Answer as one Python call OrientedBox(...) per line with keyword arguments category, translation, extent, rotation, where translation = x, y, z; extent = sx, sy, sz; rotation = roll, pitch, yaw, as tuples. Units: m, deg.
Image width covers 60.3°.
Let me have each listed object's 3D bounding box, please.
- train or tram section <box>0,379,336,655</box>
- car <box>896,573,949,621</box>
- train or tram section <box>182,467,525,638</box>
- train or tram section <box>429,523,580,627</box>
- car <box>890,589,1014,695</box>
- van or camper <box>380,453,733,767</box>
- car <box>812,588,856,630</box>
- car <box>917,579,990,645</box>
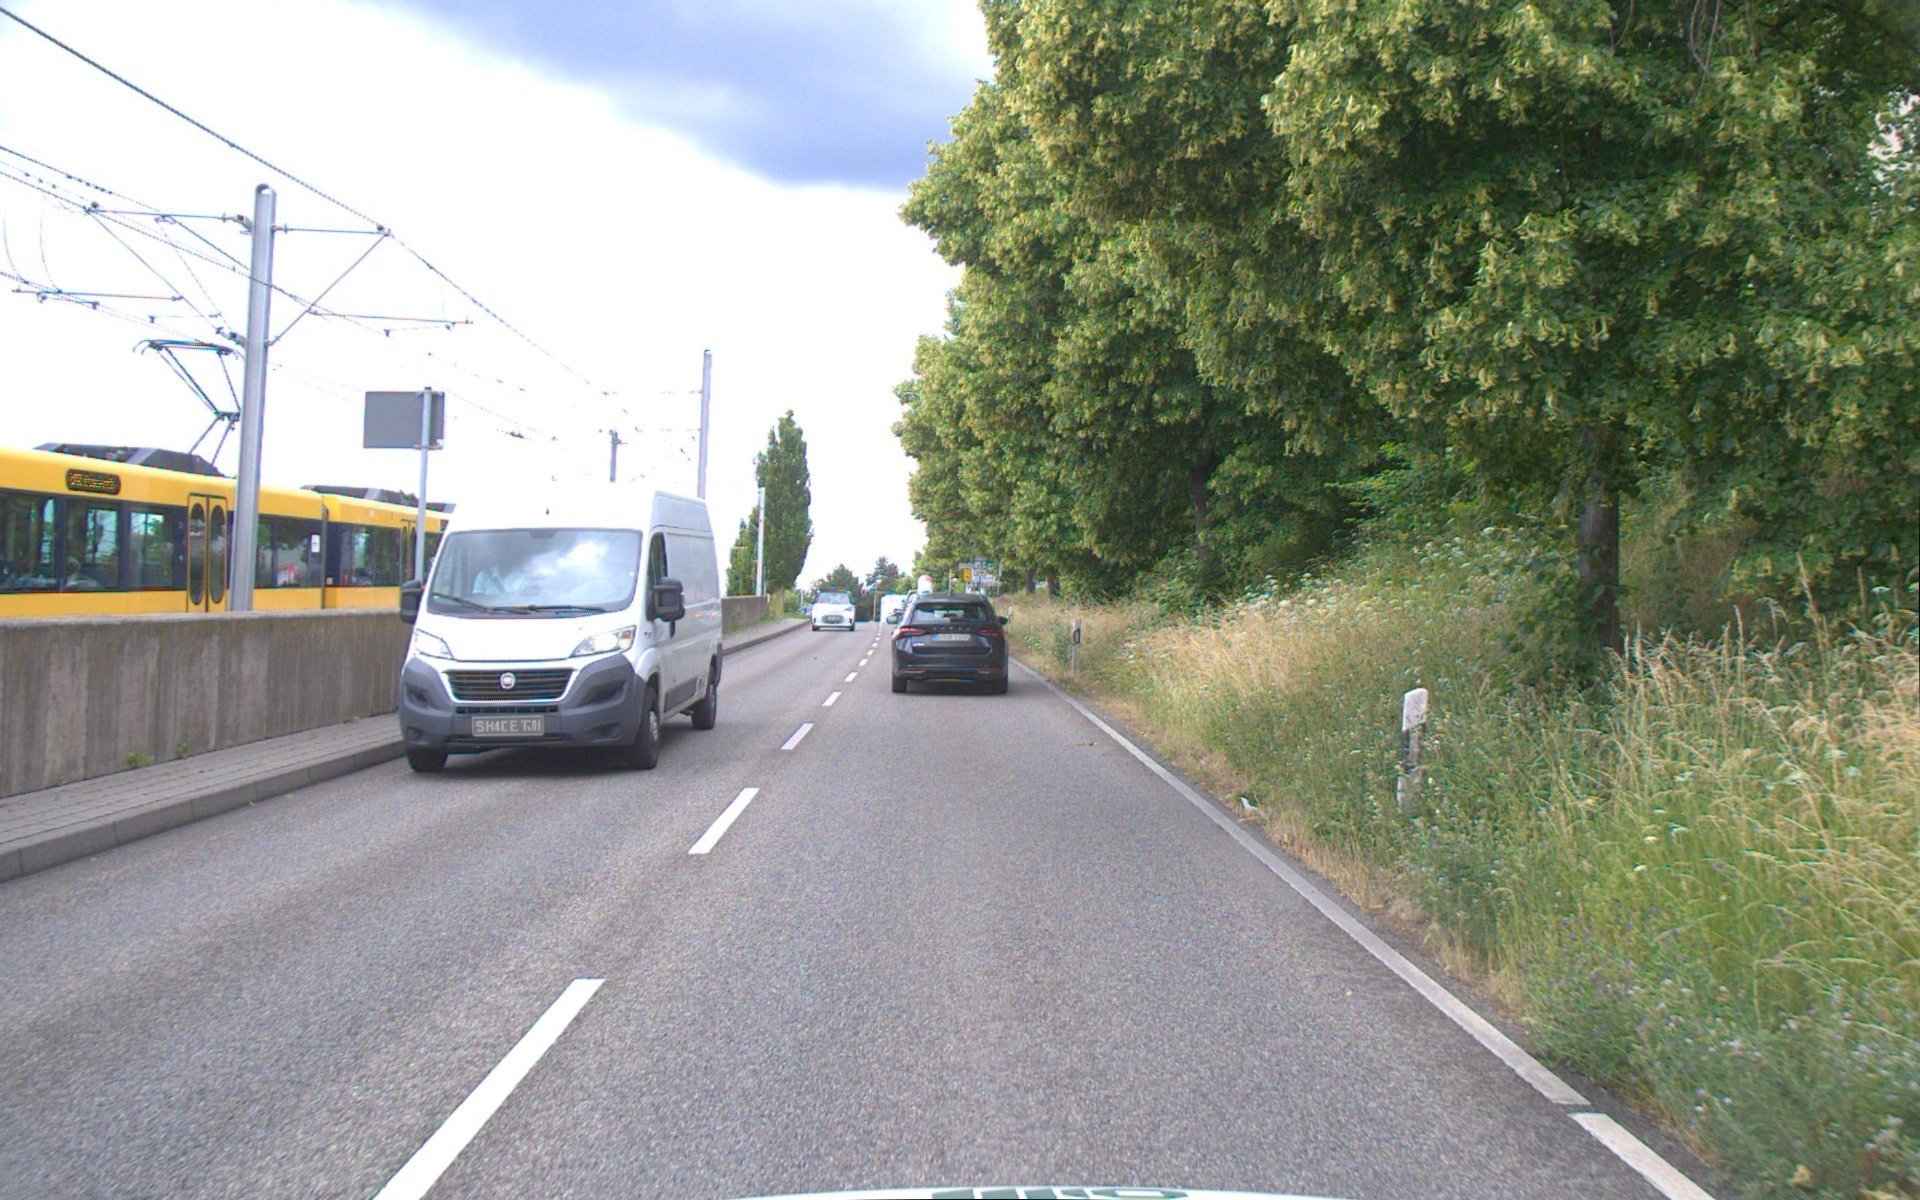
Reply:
OrientedBox(category="train or tram section", translation=(-12.513, -0.942, 21.129), extent=(2.755, 3.172, 18.904), rotation=(0, 0, -3))
OrientedBox(category="car", translation=(-1.427, -0.092, 63.299), extent=(1.953, 1.771, 3.999), rotation=(0, -1, -1))
OrientedBox(category="train or tram section", translation=(-13.624, -0.795, 39.874), extent=(2.749, 3.130, 19.082), rotation=(0, 0, -5))
OrientedBox(category="train or tram section", translation=(-15.742, -0.662, 58.760), extent=(2.749, 3.078, 19.270), rotation=(0, 0, -8))
OrientedBox(category="car", translation=(-0.153, 0.581, 25.373), extent=(1.745, 1.493, 3.999), rotation=(0, 0, -1))
OrientedBox(category="van or camper", translation=(-3.564, 0.067, 15.970), extent=(2.040, 2.438, 6.135), rotation=(0, 0, -2))
OrientedBox(category="car", translation=(-5.010, 0.339, 65.676), extent=(1.697, 1.599, 3.996), rotation=(-1, 0, -5))
OrientedBox(category="car", translation=(-0.209, 0.318, 46.627), extent=(1.953, 1.783, 3.999), rotation=(0, 0, -1))
